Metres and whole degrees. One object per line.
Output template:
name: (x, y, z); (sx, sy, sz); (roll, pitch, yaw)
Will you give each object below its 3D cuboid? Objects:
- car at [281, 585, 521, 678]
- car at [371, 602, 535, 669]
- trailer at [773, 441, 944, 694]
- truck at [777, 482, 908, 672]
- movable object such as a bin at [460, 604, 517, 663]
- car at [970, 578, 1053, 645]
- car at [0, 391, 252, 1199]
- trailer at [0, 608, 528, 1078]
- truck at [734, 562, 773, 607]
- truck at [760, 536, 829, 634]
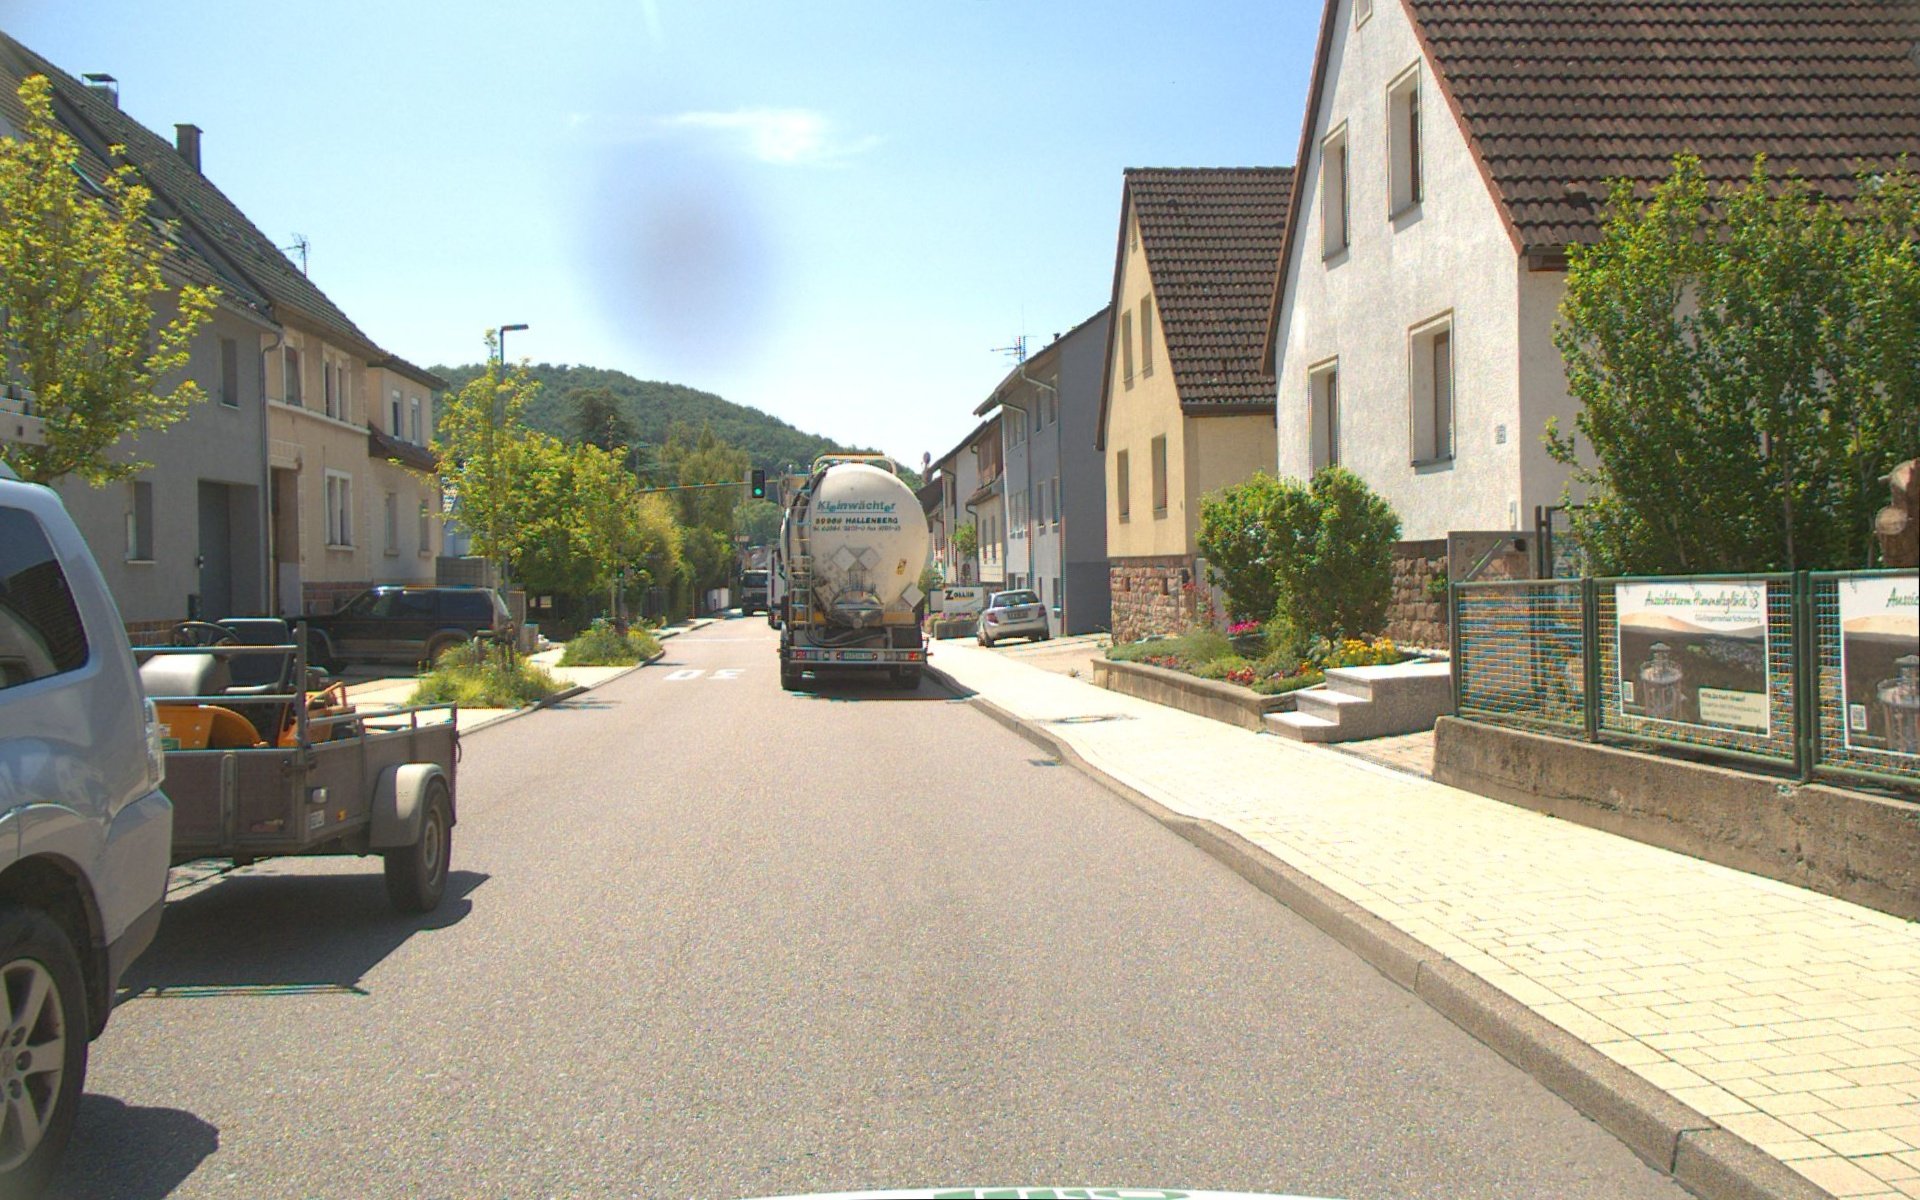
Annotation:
car: (-11.371, 0.622, 33.877); (4.310, 1.781, 1.876); (-1, 0, -6)
car: (-11.662, 0.798, 38.031); (3.473, 1.464, 1.696); (-1, 0, 29)
trailer: (-2.140, -0.534, 31.847); (2.742, 4.071, 10.311); (0, 0, -6)
truck: (-2.779, -0.483, 38.135); (2.754, 4.006, 6.091); (0, 0, -6)
movable object such as a bin: (-11.357, 0.790, 39.891); (0.969, 1.342, 1.404); (0, 2, -1)
car: (1.365, 0.297, 45.467); (1.756, 1.567, 4.516); (-5, 0, -3)
car: (-3.017, 0.496, 2.796); (1.852, 1.893, 4.575); (-1, 0, -3)
trailer: (-3.185, 0.768, 7.302); (1.543, 1.420, 4.400); (-1, 0, -2)
truck: (-16.088, -1.192, 129.295); (2.676, 3.430, 8.625); (0, 0, -5)
truck: (-8.853, -0.631, 87.236); (2.795, 4.761, 11.311); (1, -1, -10)
